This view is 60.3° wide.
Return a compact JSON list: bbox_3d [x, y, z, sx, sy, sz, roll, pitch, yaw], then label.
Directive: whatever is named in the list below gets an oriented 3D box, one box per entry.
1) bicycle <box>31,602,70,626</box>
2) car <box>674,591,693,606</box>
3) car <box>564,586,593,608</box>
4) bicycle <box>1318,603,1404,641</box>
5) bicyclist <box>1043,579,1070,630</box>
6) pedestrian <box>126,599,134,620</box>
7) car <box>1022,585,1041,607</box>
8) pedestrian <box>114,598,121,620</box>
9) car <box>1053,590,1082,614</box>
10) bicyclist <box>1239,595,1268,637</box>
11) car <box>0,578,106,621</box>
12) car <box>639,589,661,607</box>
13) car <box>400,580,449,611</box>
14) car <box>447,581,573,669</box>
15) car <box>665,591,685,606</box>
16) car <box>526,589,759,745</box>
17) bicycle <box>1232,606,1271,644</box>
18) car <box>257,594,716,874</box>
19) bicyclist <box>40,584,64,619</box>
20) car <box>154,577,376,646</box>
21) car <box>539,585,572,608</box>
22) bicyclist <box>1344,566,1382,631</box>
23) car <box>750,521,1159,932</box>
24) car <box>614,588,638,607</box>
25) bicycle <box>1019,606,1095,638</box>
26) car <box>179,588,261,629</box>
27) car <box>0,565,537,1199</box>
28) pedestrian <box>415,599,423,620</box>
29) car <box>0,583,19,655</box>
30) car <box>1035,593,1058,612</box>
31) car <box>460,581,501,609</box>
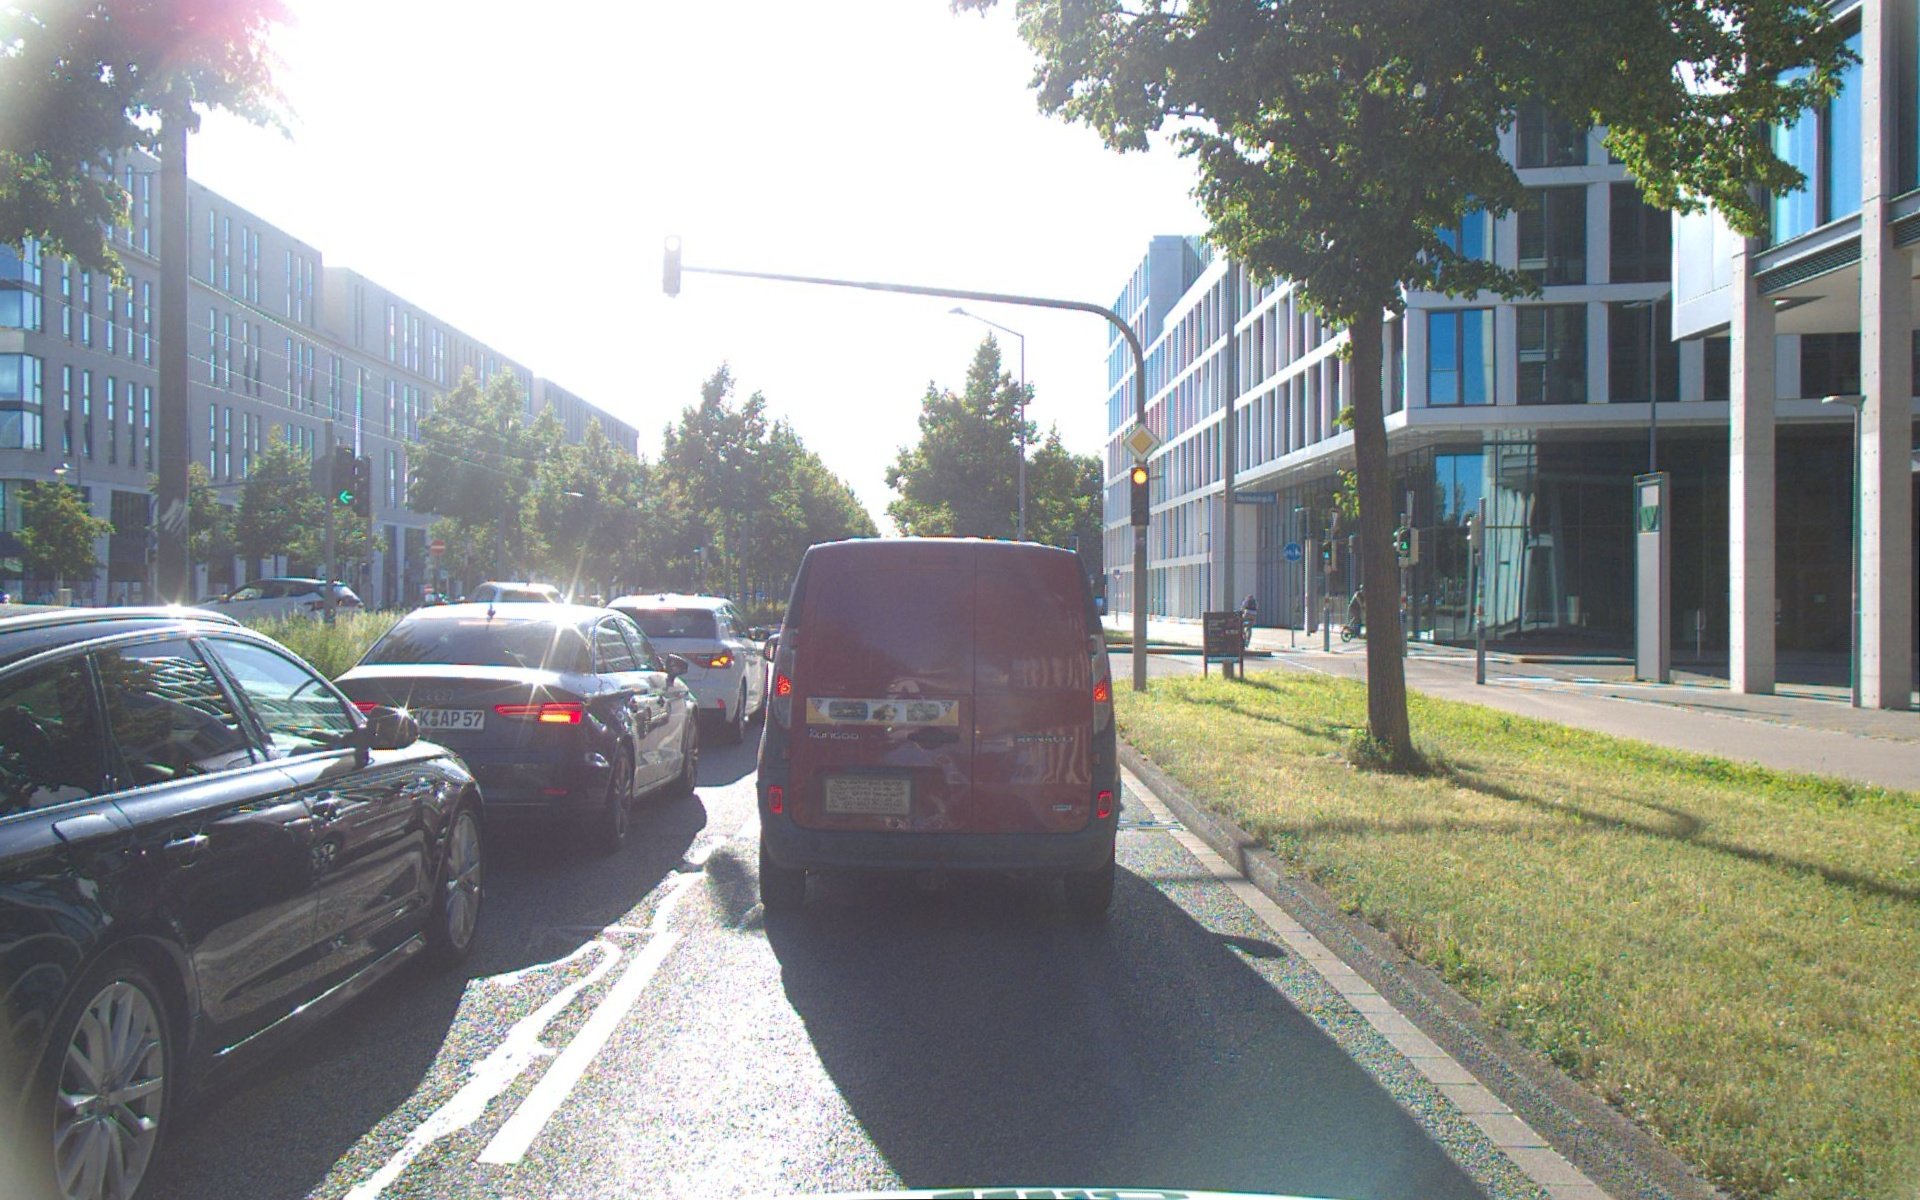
[{"bbox_3d":[-40.597,0.620,73.837,0.663,1.005,1.956,0,0,-1],"label":"bicycle"},{"bbox_3d":[-37.167,-0.180,222.302,1.953,2.049,3.999,0,0,-1],"label":"car"},{"bbox_3d":[-36.385,-0.314,157.874,1.953,2.049,3.999,0,0,-1],"label":"car"},{"bbox_3d":[13.287,0.703,54.903,0.810,1.211,2.909,0,0,-40],"label":"bicycle"},{"bbox_3d":[3.729,0.169,63.894,0.978,1.981,0.818,0,0,1],"label":"bicyclist"},{"bbox_3d":[-42.930,0.487,85.546,0.248,1.104,0.289,0,0,-1],"label":"pedestrian"},{"bbox_3d":[8.580,-0.512,198.463,1.953,2.540,4.986,0,0,-1],"label":"car"},{"bbox_3d":[-43.526,0.461,85.472,0.248,1.104,0.260,0,0,-1],"label":"pedestrian"},{"bbox_3d":[8.323,0.148,128.254,1.953,1.813,3.999,0,0,-1],"label":"car"},{"bbox_3d":[9.219,0.508,52.021,0.801,1.297,0.683,0,0,1],"label":"bicyclist"},{"bbox_3d":[-33.200,-0.031,60.653,1.729,1.546,3.999,0,0,-1],"label":"car"},{"bbox_3d":[-37.216,-0.244,198.660,1.953,2.049,3.999,0,0,-1],"label":"car"},{"bbox_3d":[-35.285,-0.311,109.110,1.953,2.049,3.999,0,0,-1],"label":"car"},{"bbox_3d":[-8.733,0.431,31.881,1.497,1.518,4.178,0,1,-28],"label":"car"},{"bbox_3d":[-37.355,-0.203,216.676,1.953,2.049,3.999,0,0,-1],"label":"car"},{"bbox_3d":[-3.221,0.621,17.504,1.767,1.451,3.900,0,0,-1],"label":"car"},{"bbox_3d":[9.170,0.783,52.106,0.801,1.134,2.847,0,0,2],"label":"bicycle"},{"bbox_3d":[-2.791,0.695,10.810,1.804,1.451,4.338,0,0,-1],"label":"car"},{"bbox_3d":[-40.594,0.086,73.940,0.663,1.556,0.714,0,0,-1],"label":"bicyclist"},{"bbox_3d":[-15.386,0.233,36.631,4.458,1.473,1.806,0,0,19],"label":"car"},{"bbox_3d":[-36.367,-0.337,148.773,1.953,2.049,3.999,0,0,-1],"label":"car"},{"bbox_3d":[13.354,-0.066,54.826,0.810,2.129,0.929,0,0,-40],"label":"bicyclist"},{"bbox_3d":[-0.052,0.552,9.329,1.804,1.812,3.999,0,0,-1],"label":"car"},{"bbox_3d":[-36.720,-0.266,181.854,1.953,2.049,3.999,0,0,-1],"label":"car"},{"bbox_3d":[3.743,0.839,63.878,2.881,1.211,0.818,0,0,0],"label":"bicycle"},{"bbox_3d":[-34.746,0.373,77.772,1.953,1.845,4.369,0,0,-1],"label":"car"},{"bbox_3d":[-2.780,0.679,5.074,1.836,1.510,4.965,0,0,-2],"label":"car"},{"bbox_3d":[-44.505,0.775,136.048,0.458,1.775,0.479,0,0,-1],"label":"pedestrian"},{"bbox_3d":[-21.422,0.390,32.775,1.773,1.473,4.541,0,0,42],"label":"car"},{"bbox_3d":[8.420,0.238,160.741,1.953,1.813,3.999,0,0,-1],"label":"car"},{"bbox_3d":[-35.836,-0.380,123.640,1.953,2.049,3.999,0,0,-1],"label":"car"}]
